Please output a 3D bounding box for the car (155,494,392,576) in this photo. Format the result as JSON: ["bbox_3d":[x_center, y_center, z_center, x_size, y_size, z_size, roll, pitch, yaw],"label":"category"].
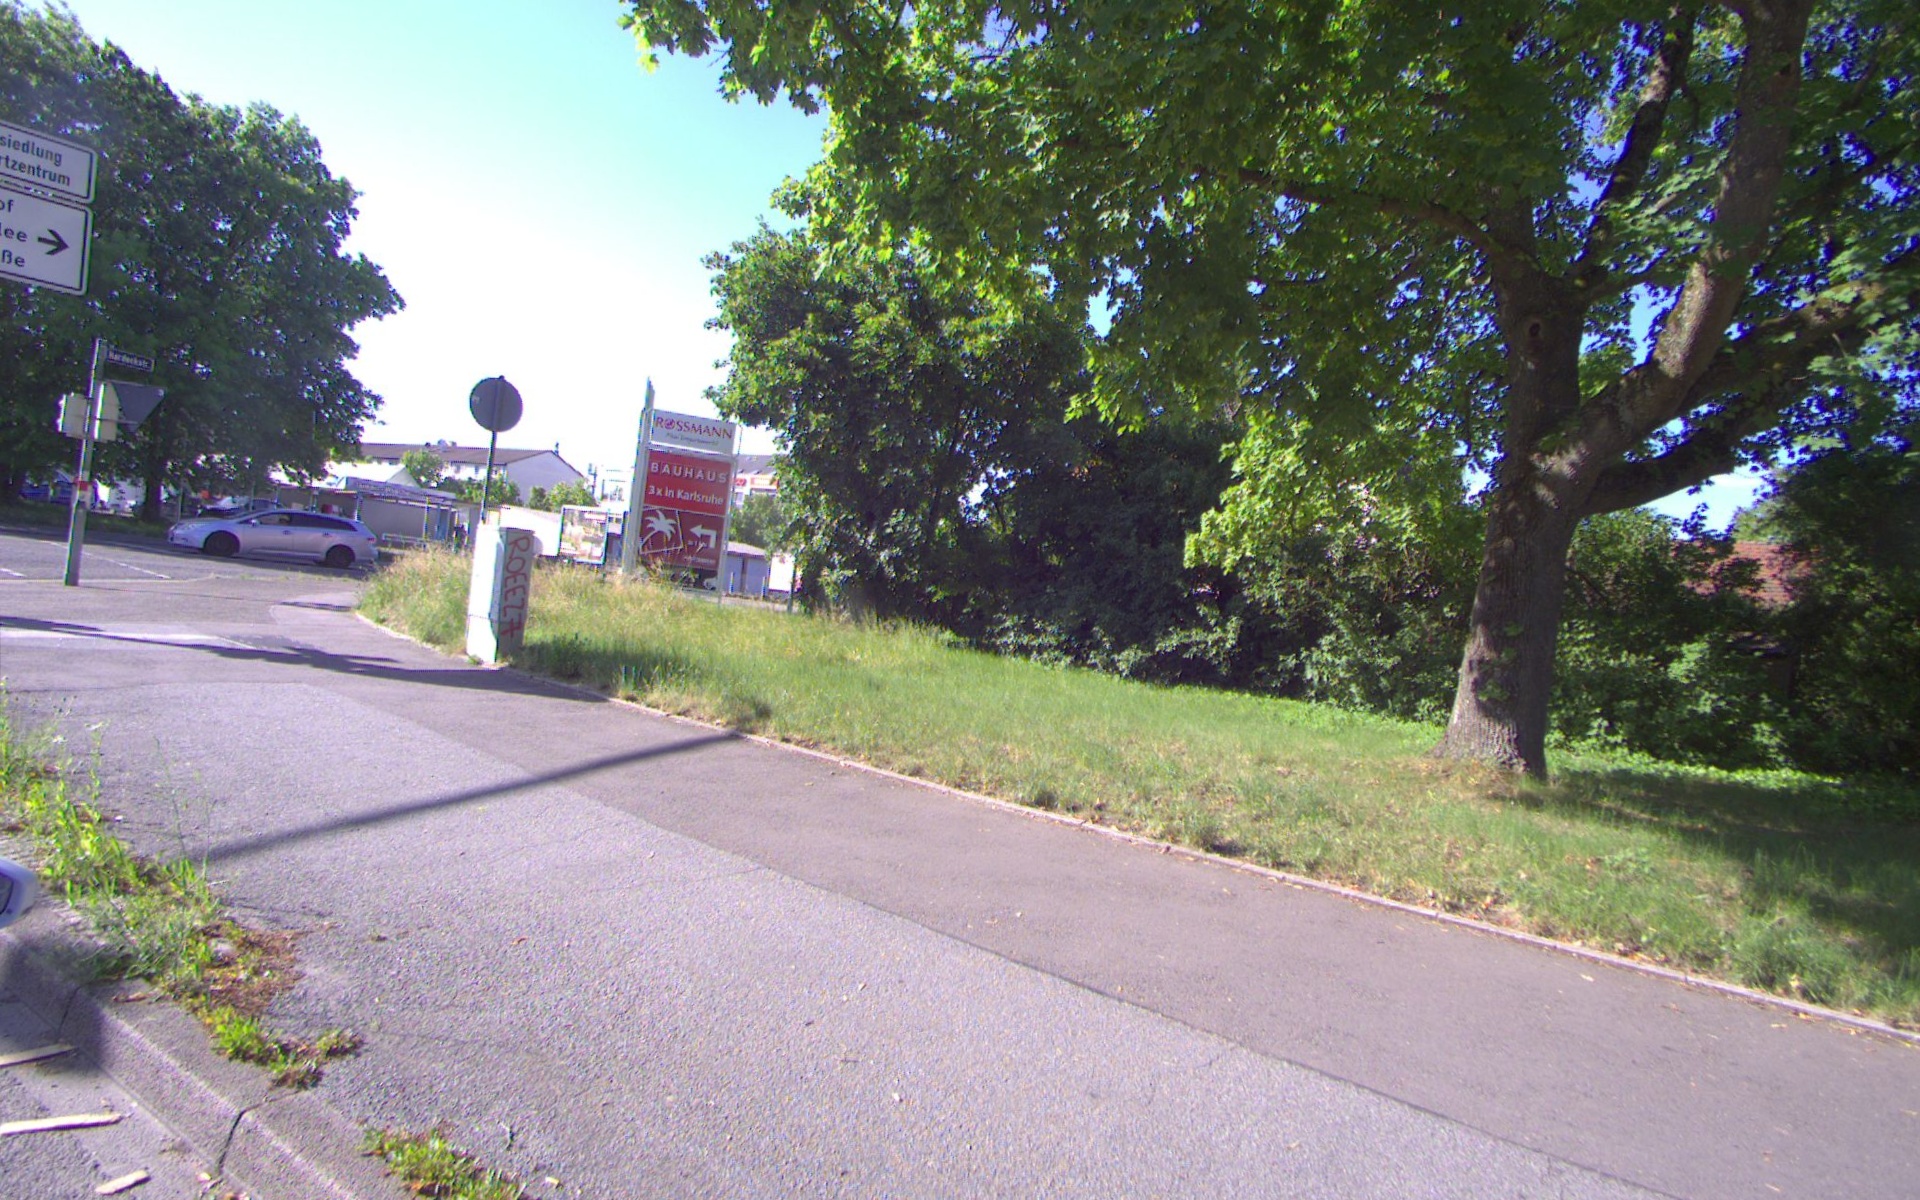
[{"bbox_3d":[-18.648,-1.731,27.528,1.973,1.504,4.994,7,0,43],"label":"car"}]

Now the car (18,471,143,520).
[{"bbox_3d":[-39.179,-4.624,44.934,1.712,1.537,3.902,7,0,9],"label":"car"}]

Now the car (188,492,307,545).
[{"bbox_3d":[-30.296,-3.424,42.918,1.712,1.701,4.001,7,0,9],"label":"car"}]

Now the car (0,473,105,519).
[{"bbox_3d":[-41.990,-4.766,46.158,1.712,1.537,3.902,7,0,9],"label":"car"}]

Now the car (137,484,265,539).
[{"bbox_3d":[-32.339,-3.725,43.014,1.962,1.772,4.000,7,1,9],"label":"car"}]
